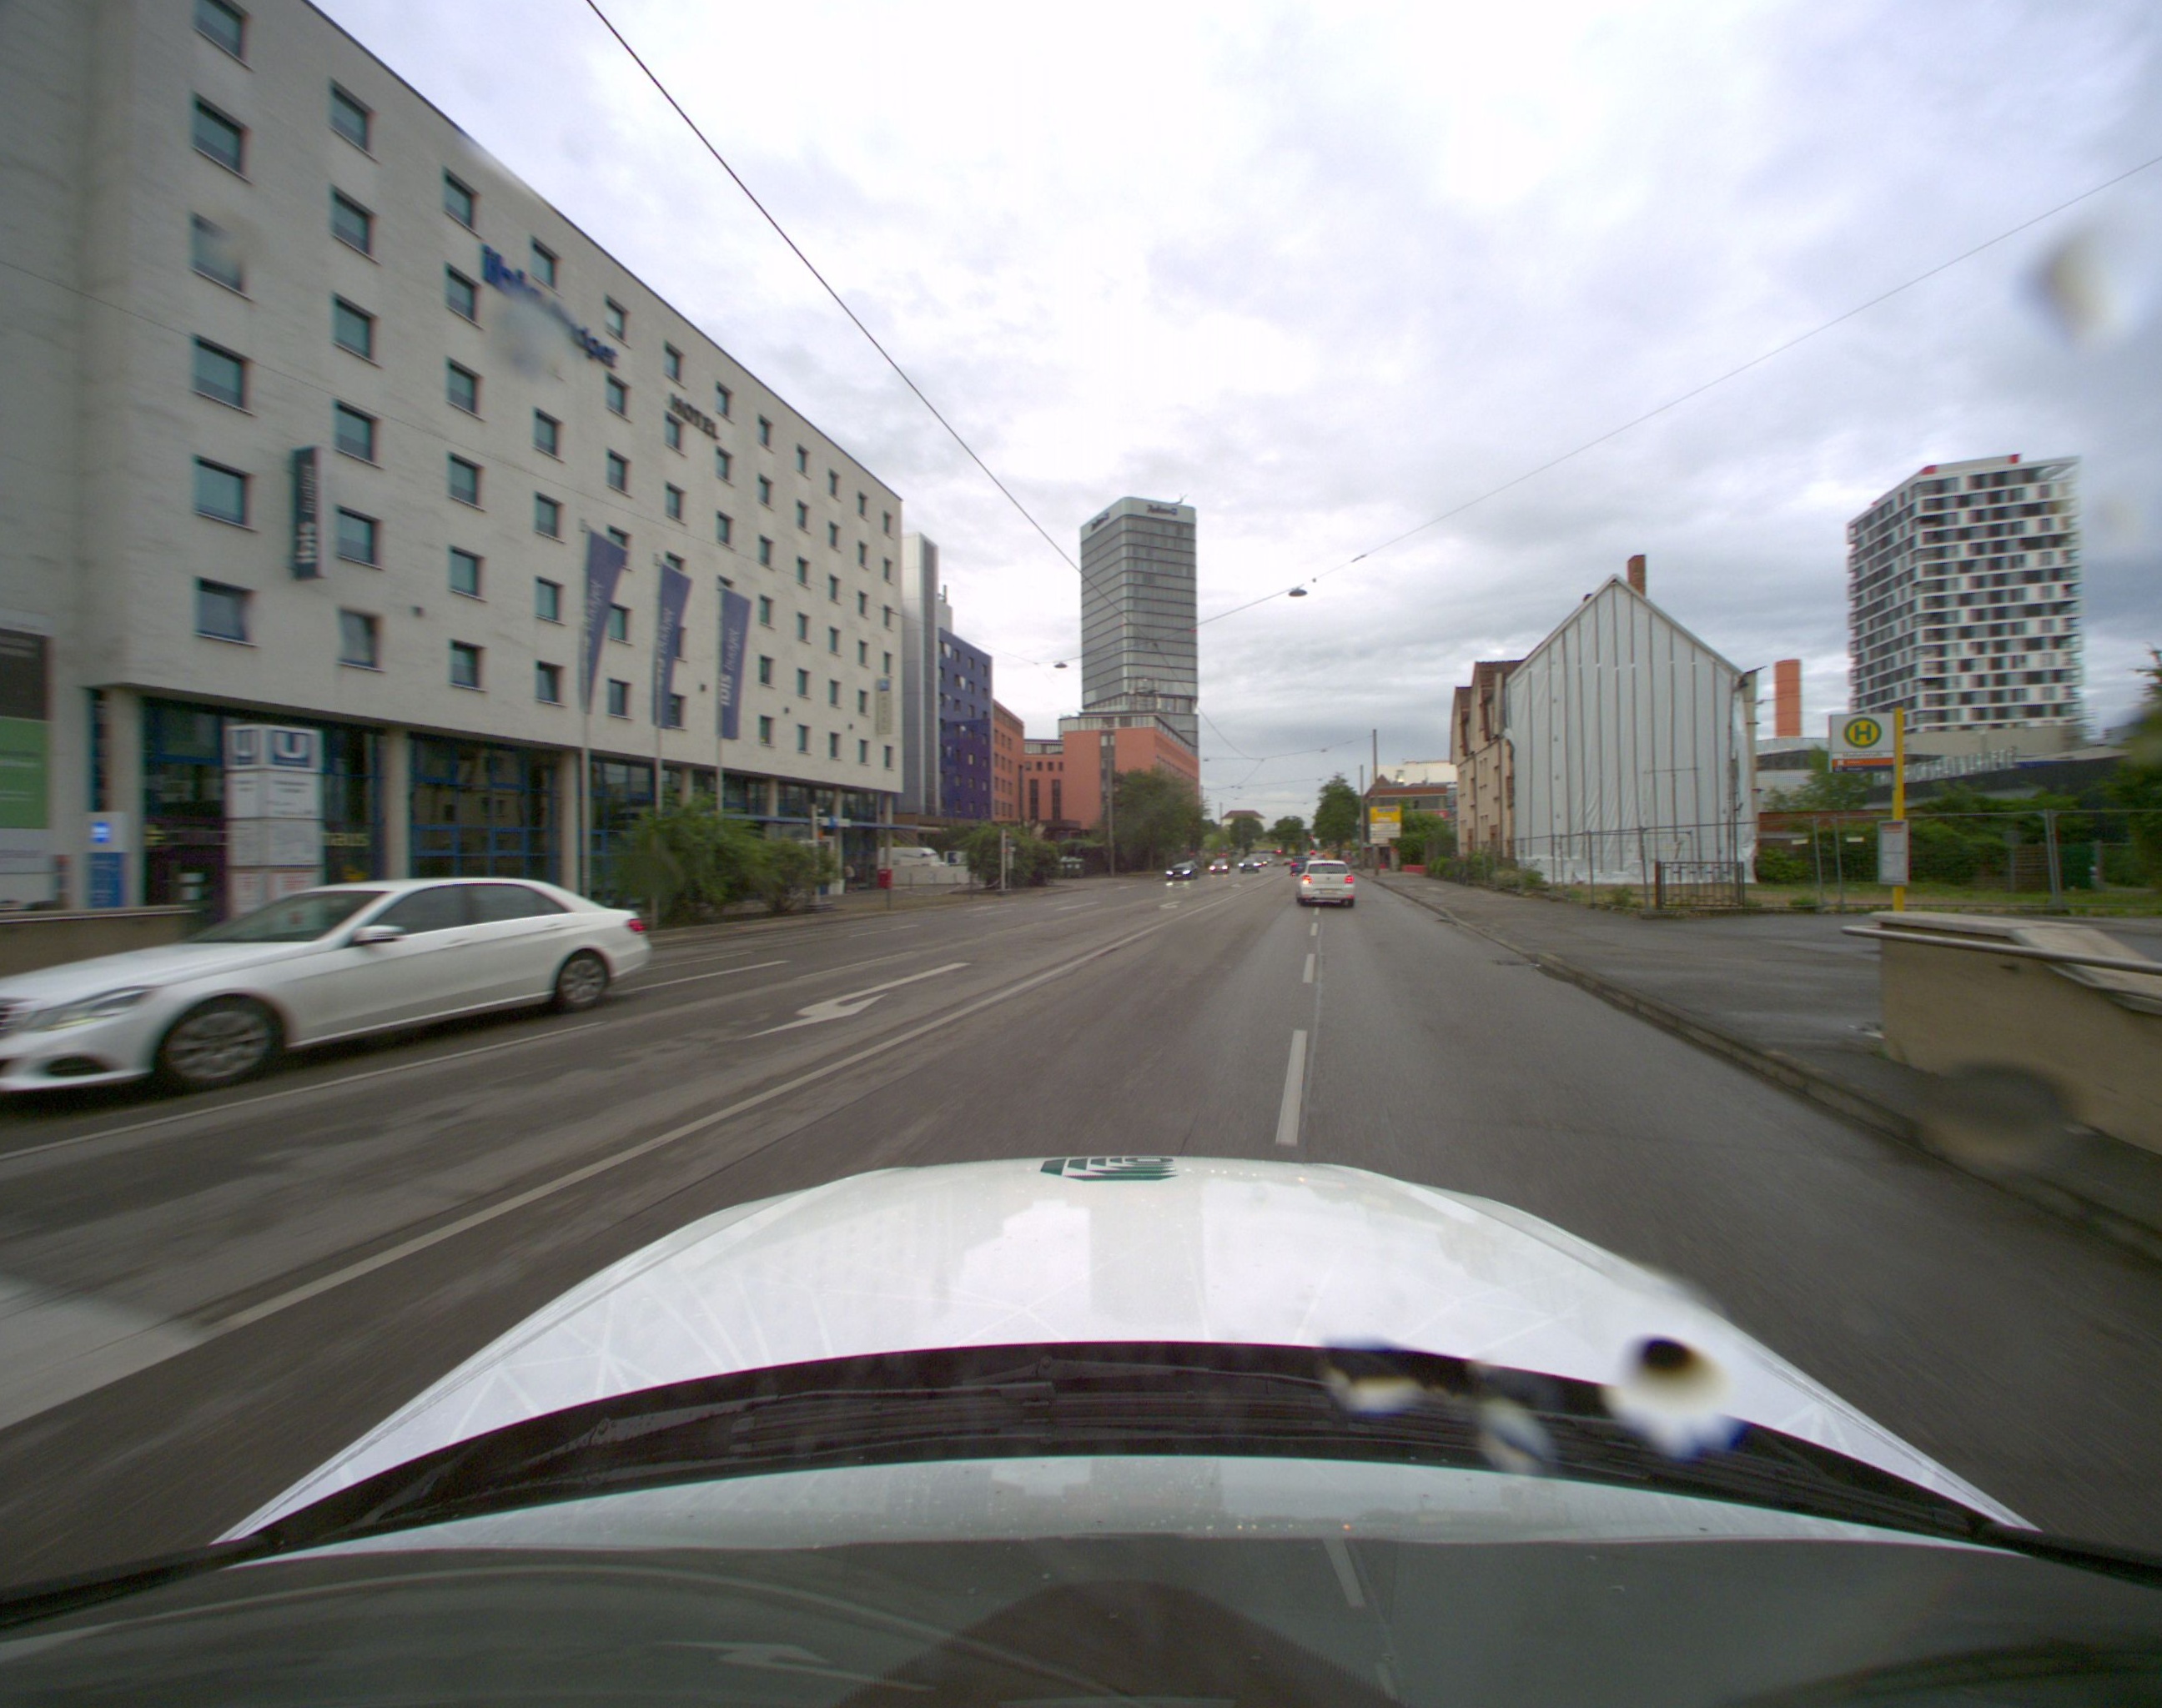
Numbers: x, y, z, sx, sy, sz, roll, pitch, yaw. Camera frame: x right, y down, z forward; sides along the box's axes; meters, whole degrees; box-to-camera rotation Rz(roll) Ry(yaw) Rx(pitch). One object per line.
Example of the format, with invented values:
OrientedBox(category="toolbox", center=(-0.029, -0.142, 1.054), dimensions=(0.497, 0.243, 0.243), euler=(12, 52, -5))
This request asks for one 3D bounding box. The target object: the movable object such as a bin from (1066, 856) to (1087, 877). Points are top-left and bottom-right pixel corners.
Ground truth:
OrientedBox(category="movable object such as a bin", center=(-0.355, 0.960, 60.960), dimensions=(1.383, 1.491, 0.953), euler=(-2, -3, 6))

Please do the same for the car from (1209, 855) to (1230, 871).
OrientedBox(category="car", center=(14.905, 0.983, 87.305), dimensions=(1.695, 1.566, 4.051), euler=(-3, 0, 16))

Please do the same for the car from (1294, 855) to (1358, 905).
OrientedBox(category="car", center=(7.879, 0.790, 26.451), dimensions=(1.660, 1.474, 3.791), euler=(0, 0, 11))

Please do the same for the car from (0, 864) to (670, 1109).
OrientedBox(category="car", center=(-6.365, 0.815, 7.371), dimensions=(1.803, 1.387, 4.983), euler=(-1, -1, 15))

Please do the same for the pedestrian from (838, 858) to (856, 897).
OrientedBox(category="pedestrian", center=(-12.591, 1.273, 43.846), dimensions=(0.813, 2.014, 0.801), euler=(-1, -3, -12))

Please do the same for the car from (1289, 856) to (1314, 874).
OrientedBox(category="car", center=(19.147, 0.937, 70.526), dimensions=(1.978, 1.574, 4.017), euler=(-1, -1, 16))

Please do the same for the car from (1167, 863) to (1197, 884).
OrientedBox(category="car", center=(7.822, 1.469, 62.893), dimensions=(1.721, 1.477, 4.716), euler=(-1, -1, 14))

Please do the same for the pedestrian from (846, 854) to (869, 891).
OrientedBox(category="pedestrian", center=(-12.358, 1.006, 44.941), dimensions=(0.906, 2.014, 0.805), euler=(1, -4, -44))

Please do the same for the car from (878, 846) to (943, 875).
OrientedBox(category="car", center=(-13.763, 0.557, 65.782), dimensions=(4.676, 2.014, 1.900), euler=(-3, -3, 16))

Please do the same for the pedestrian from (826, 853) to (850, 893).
OrientedBox(category="pedestrian", center=(-12.664, 0.984, 42.437), dimensions=(0.796, 2.014, 0.819), euler=(-3, -3, 17))

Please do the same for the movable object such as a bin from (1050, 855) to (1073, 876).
OrientedBox(category="movable object such as a bin", center=(-1.467, 0.885, 62.019), dimensions=(1.377, 1.491, 0.957), euler=(-4, -3, 27))

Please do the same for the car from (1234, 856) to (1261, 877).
OrientedBox(category="car", center=(17.235, 1.334, 84.341), dimensions=(1.986, 2.014, 4.001), euler=(-2, -3, 2))

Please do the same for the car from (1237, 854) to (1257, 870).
OrientedBox(category="car", center=(17.860, 0.842, 87.428), dimensions=(1.743, 1.555, 4.469), euler=(-3, 0, 15))

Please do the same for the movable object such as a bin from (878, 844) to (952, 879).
OrientedBox(category="movable object such as a bin", center=(-13.894, 0.652, 68.074), dimensions=(5.583, 2.628, 2.170), euler=(-3, -3, 16))
